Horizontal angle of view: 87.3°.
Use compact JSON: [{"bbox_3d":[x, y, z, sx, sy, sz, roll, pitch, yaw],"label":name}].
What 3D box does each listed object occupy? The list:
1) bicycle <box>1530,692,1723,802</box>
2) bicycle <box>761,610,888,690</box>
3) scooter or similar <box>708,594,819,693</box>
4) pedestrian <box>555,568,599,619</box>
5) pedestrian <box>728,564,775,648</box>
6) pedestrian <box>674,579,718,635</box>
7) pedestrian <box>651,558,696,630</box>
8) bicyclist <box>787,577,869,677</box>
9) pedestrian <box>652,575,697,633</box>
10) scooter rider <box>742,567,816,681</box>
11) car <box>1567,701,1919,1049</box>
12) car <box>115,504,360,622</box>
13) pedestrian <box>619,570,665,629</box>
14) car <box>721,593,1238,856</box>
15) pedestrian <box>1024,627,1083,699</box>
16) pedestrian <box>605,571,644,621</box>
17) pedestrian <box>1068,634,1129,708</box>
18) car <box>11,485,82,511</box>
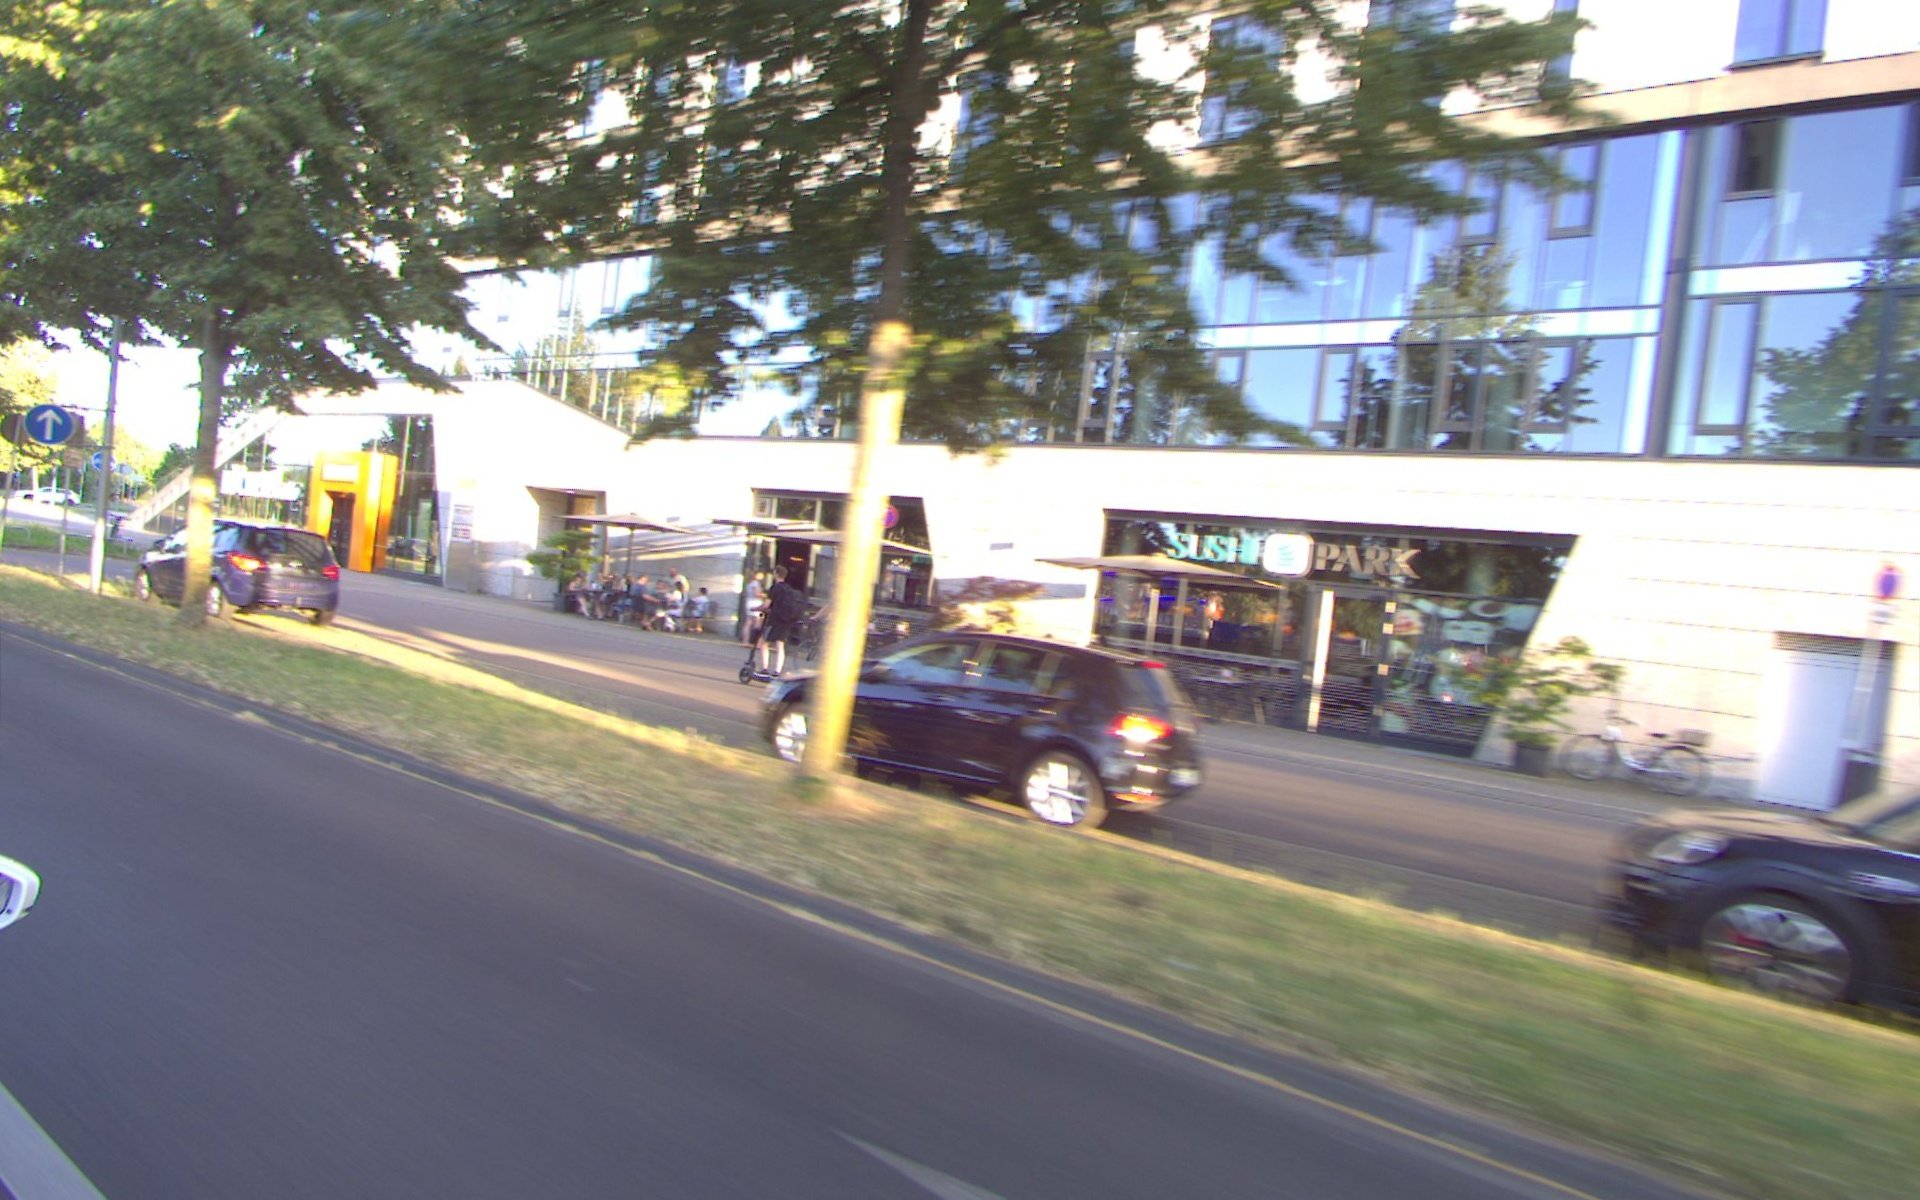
[{"bbox_3d":[9.792,2.126,14.864,2.228,1.223,0.469,7,1,36],"label":"bicycle"},{"bbox_3d":[-2.349,0.853,17.361,2.029,1.093,0.773,7,1,30],"label":"bicycle"},{"bbox_3d":[-3.085,0.666,15.750,1.636,1.327,0.526,7,1,30],"label":"scooter or similar"},{"bbox_3d":[-9.977,-0.176,26.226,0.847,1.201,0.572,7,1,34],"label":"pedestrian"},{"bbox_3d":[-4.639,0.134,22.421,0.676,1.759,0.705,7,1,2],"label":"pedestrian"},{"bbox_3d":[-6.569,0.171,25.035,0.725,1.299,0.581,7,1,14],"label":"pedestrian"},{"bbox_3d":[-7.236,-0.141,25.435,0.686,1.739,0.636,7,1,12],"label":"pedestrian"},{"bbox_3d":[-2.269,0.468,17.339,0.975,1.586,0.773,7,1,30],"label":"bicyclist"},{"bbox_3d":[-6.927,0.100,24.401,0.726,1.299,0.580,7,1,28],"label":"pedestrian"},{"bbox_3d":[-2.802,0.374,15.593,0.818,1.659,0.526,7,1,30],"label":"scooter rider"},{"bbox_3d":[5.597,1.586,5.426,3.818,1.490,1.577,7,0,33],"label":"car"},{"bbox_3d":[-12.307,-0.635,17.087,4.088,1.484,1.760,7,0,30],"label":"car"},{"bbox_3d":[-7.573,-0.008,23.961,0.703,1.299,0.628,7,1,11],"label":"pedestrian"},{"bbox_3d":[0.095,0.952,9.076,4.216,1.490,1.780,7,0,30],"label":"car"},{"bbox_3d":[1.730,1.165,18.587,0.793,1.210,0.572,7,1,32],"label":"pedestrian"},{"bbox_3d":[-8.745,-0.096,26.260,0.708,1.201,0.614,7,1,-5],"label":"pedestrian"},{"bbox_3d":[2.491,1.267,18.065,0.794,1.210,0.572,7,1,34],"label":"pedestrian"},{"bbox_3d":[-78.946,-8.793,86.934,4.414,1.504,1.893,8,0,-45],"label":"car"}]
